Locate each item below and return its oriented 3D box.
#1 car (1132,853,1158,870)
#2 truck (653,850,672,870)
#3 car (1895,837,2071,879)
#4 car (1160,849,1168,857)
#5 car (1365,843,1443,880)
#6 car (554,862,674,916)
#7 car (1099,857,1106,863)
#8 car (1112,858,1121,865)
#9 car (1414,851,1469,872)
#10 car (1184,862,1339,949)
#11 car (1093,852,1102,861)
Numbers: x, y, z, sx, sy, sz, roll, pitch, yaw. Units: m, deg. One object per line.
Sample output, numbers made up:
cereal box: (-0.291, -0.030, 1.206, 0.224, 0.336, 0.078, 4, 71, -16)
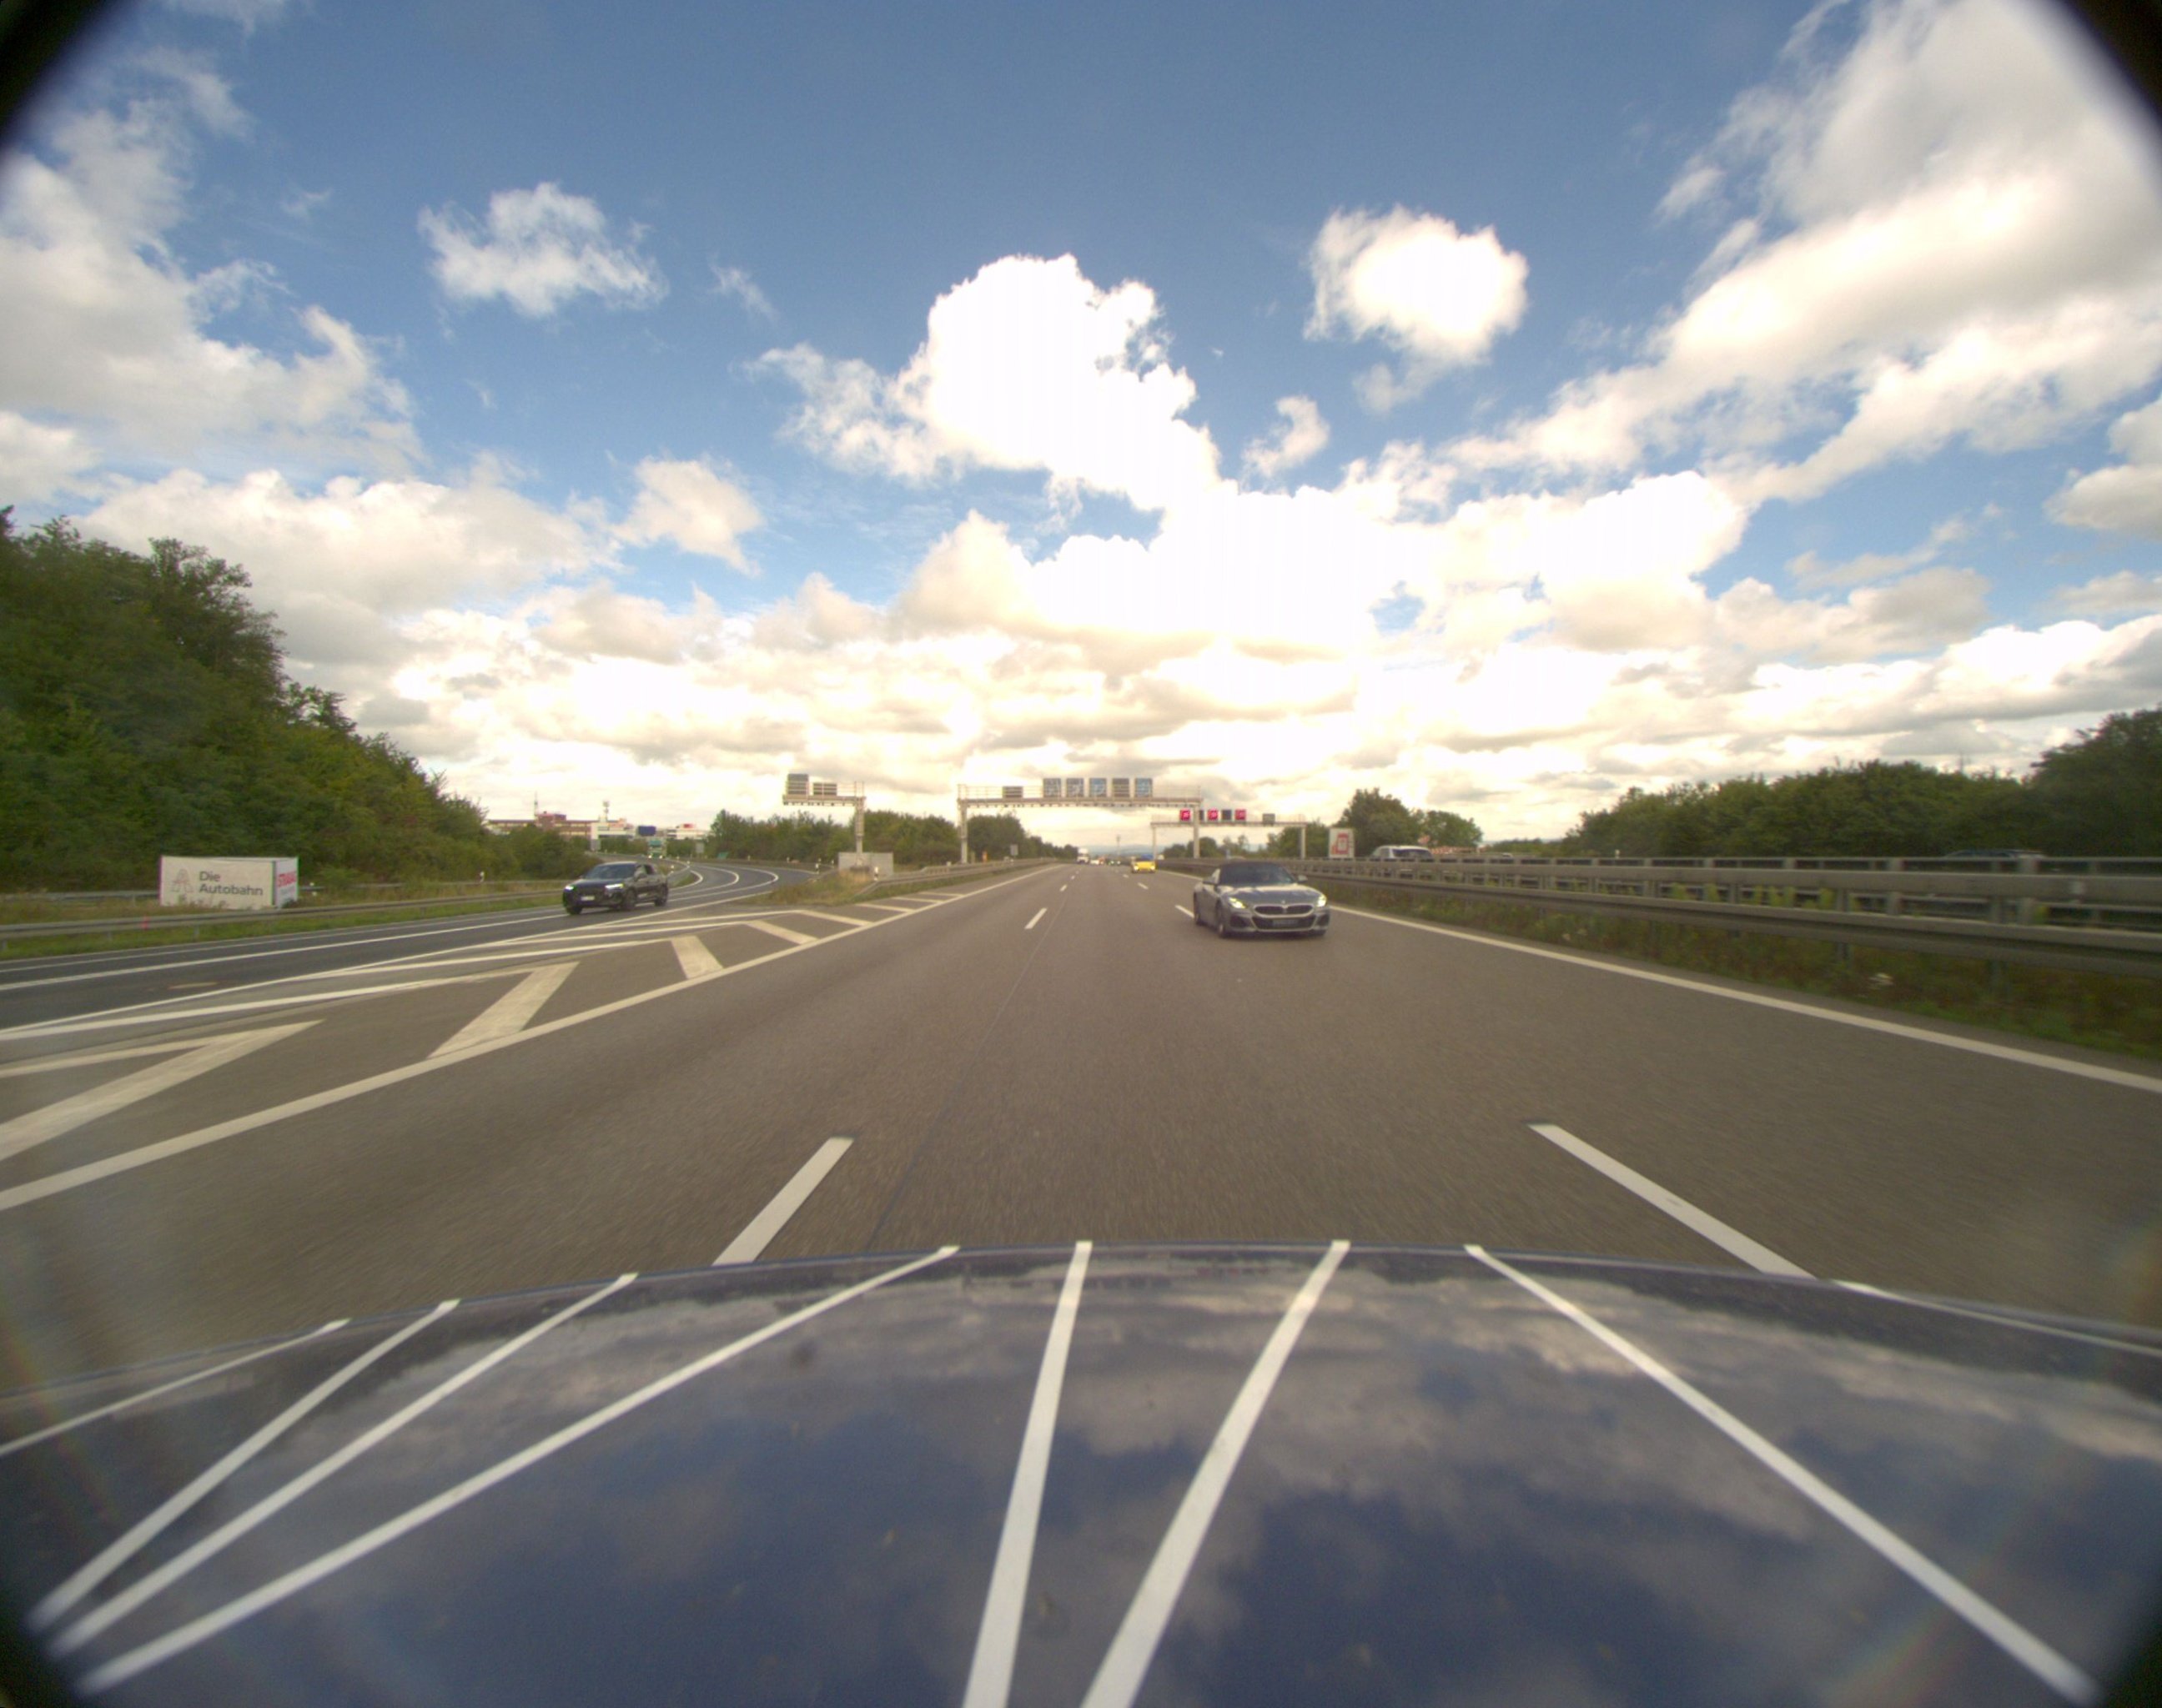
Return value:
car: (5.289, 0.607, 62.892, 1.811, 1.307, 4.247, 1, 1, 0)
truck: (-82.795, 1.208, 150.229, 2.974, 3.775, 13.431, -2, 0, -29)
car: (38.900, 0.150, 33.025, 1.815, 1.626, 5.008, -1, 0, 2)
car: (24.162, -0.282, 221.302, 2.003, 2.271, 4.577, -1, 1, -1)
car: (13.909, 0.289, 32.975, 1.739, 1.471, 4.201, -1, 1, 2)
car: (-16.380, 1.137, 26.975, 1.877, 1.626, 4.854, -1, 1, -9)
car: (5.912, 1.679, 209.068, 1.999, 1.619, 4.429, 0, 0, 0)
car: (7.367, 1.485, 158.095, 1.593, 1.307, 3.978, 1, 1, 0)
car: (21.990, 0.443, 46.478, 1.528, 1.212, 3.875, -2, 0, 0)
car: (3.277, 0.870, 14.871, 1.878, 1.295, 4.942, -1, 0, 1)
car: (3.128, 0.509, 143.292, 1.736, 1.608, 4.000, -1, 0, 1)
